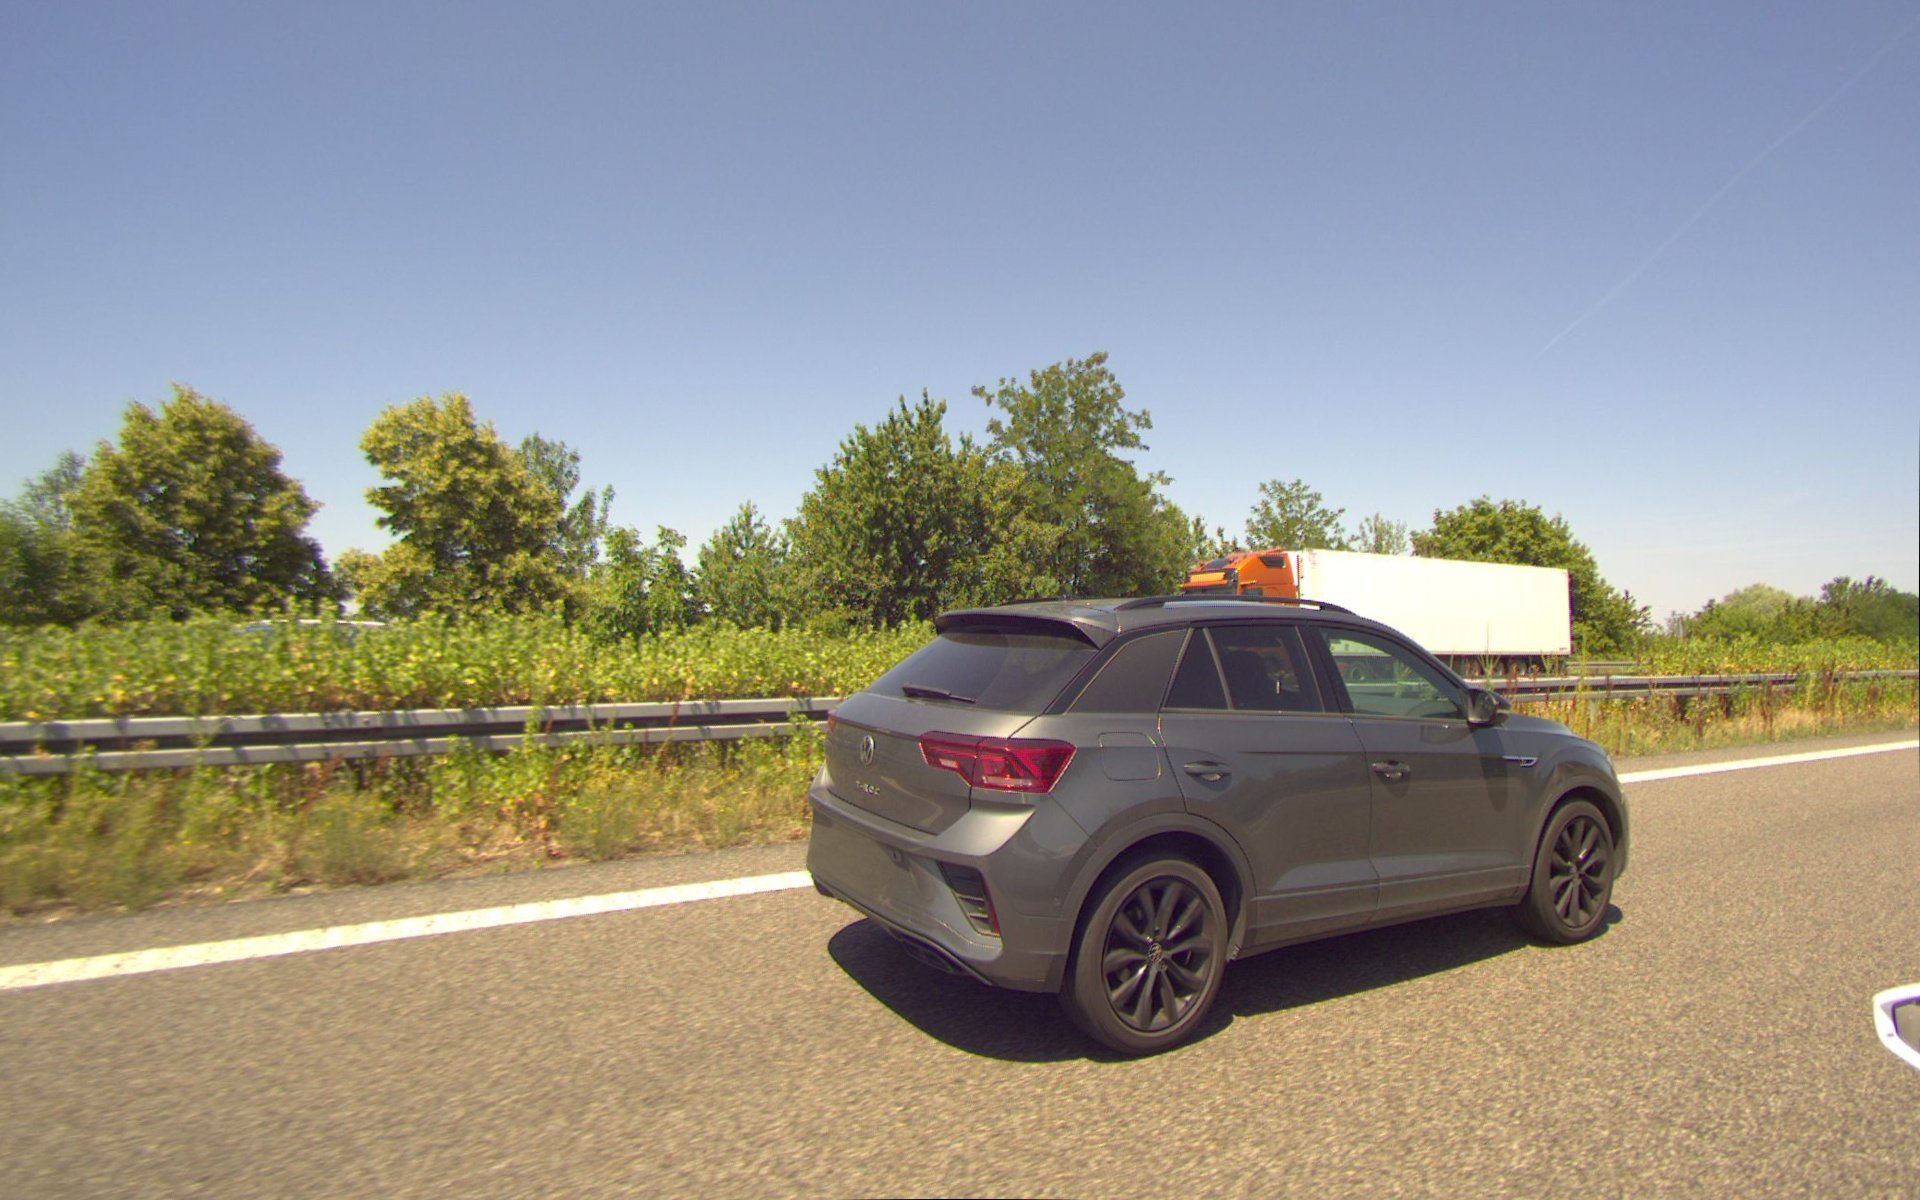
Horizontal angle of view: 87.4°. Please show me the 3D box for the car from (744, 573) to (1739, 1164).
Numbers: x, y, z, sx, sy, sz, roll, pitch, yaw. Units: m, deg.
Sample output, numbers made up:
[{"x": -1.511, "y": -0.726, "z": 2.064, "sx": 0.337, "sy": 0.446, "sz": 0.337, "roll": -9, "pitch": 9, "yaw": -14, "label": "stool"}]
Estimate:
[{"x": 1.627, "y": 0.778, "z": 4.935, "sx": 4.952, "sy": 1.662, "sz": 1.870, "roll": 0, "pitch": -1, "yaw": -32, "label": "car"}]

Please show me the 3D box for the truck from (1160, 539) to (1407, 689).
[{"x": 9.622, "y": 0.523, "z": 29.678, "sx": 7.328, "sy": 3.986, "sz": 2.720, "roll": 2, "pitch": -4, "yaw": -30, "label": "truck"}]

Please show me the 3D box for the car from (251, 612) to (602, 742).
[{"x": -7.120, "y": 0.973, "z": 13.692, "sx": 3.953, "sy": 1.417, "sz": 1.852, "roll": 2, "pitch": 3, "yaw": -30, "label": "car"}]

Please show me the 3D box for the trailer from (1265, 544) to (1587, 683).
[{"x": 15.736, "y": 0.617, "z": 33.244, "sx": 12.910, "sy": 3.986, "sz": 2.720, "roll": 2, "pitch": -4, "yaw": -30, "label": "trailer"}]
